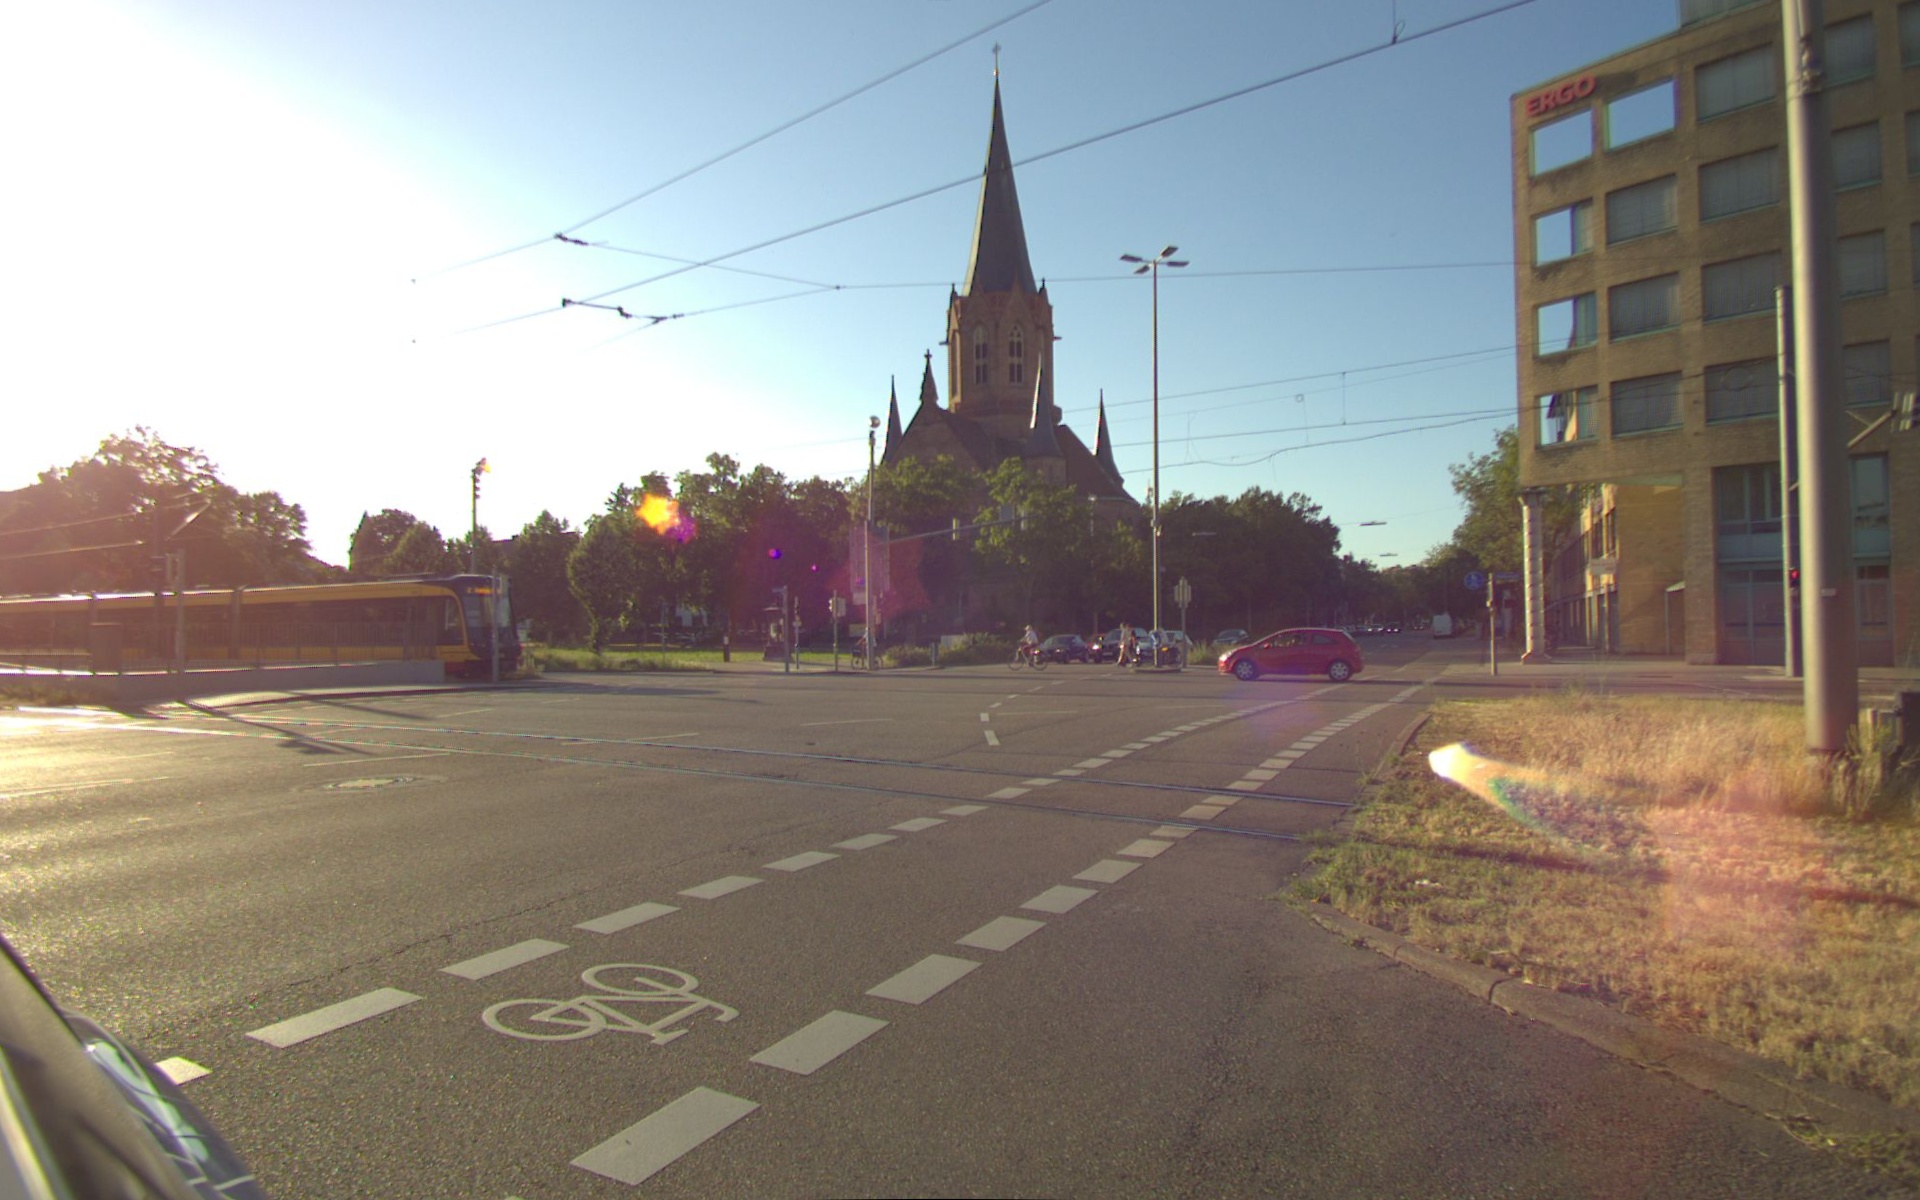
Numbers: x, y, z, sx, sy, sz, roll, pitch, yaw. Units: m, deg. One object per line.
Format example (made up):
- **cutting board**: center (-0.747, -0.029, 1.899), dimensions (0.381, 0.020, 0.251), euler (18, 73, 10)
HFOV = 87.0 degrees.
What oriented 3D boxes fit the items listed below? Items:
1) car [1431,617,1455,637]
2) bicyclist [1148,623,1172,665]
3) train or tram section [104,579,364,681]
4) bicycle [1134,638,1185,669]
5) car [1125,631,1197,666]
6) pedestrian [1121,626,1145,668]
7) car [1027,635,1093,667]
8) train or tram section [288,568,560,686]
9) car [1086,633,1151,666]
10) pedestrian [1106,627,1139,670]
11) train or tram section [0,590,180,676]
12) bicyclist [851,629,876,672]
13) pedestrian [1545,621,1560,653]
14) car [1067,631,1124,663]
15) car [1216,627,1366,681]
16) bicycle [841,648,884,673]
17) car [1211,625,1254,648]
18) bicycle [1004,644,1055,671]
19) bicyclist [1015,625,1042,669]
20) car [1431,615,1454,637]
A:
- **car**: center (53.236, 2.962, 111.472), dimensions (2.222, 2.029, 4.559), euler (-2, -2, 27)
- **bicyclist**: center (7.798, 1.714, 39.381), dimensions (0.814, 1.595, 0.518), euler (-2, -1, 18)
- **train or tram section**: center (-28.900, 1.248, 39.926), dimensions (13.187, 3.563, 2.756), euler (-2, -1, 28)
- **bicycle**: center (7.767, 2.090, 39.388), dimensions (1.904, 1.155, 0.457), euler (-2, -1, 19)
- **car**: center (8.935, 2.125, 44.768), dimensions (1.896, 1.431, 3.957), euler (-2, -2, 31)
- **pedestrian**: center (7.023, 1.911, 41.069), dimensions (0.715, 1.685, 0.730), euler (-2, -2, 31)
- **car**: center (4.997, 2.512, 50.224), dimensions (1.893, 1.431, 3.962), euler (-2, -2, 28)
- **train or tram section**: center (-18.395, 0.977, 34.398), dimensions (10.519, 3.563, 2.756), euler (-2, -1, 28)
- **car**: center (7.691, 2.361, 48.808), dimensions (1.893, 1.431, 3.962), euler (-2, -2, 28)
- **pedestrian**: center (6.499, 1.923, 40.419), dimensions (1.101, 1.685, 0.730), euler (-2, -2, 31)
- **train or tram section**: center (-40.551, 1.541, 46.090), dimensions (13.187, 3.563, 2.756), euler (-2, -1, 28)
- **bicyclist**: center (-4.225, 2.198, 44.232), dimensions (0.890, 1.841, 0.570), euler (-2, -1, 28)
- **pedestrian**: center (29.698, 1.867, 50.713), dimensions (0.579, 1.567, 0.737), euler (-2, -2, 34)
- **car**: center (7.409, 2.523, 54.924), dimensions (1.816, 1.597, 3.963), euler (-2, -2, 27)
- **car**: center (9.298, 1.506, 28.429), dimensions (3.861, 1.425, 1.716), euler (-2, -2, 23)
- **bicycle**: center (-4.265, 2.654, 44.260), dimensions (1.921, 1.034, 0.520), euler (-2, -1, 28)
- **car**: center (17.977, 2.361, 66.552), dimensions (1.893, 1.431, 3.962), euler (-2, -2, 28)
- **bicycle**: center (2.723, 2.248, 39.657), dimensions (1.918, 1.034, 0.456), euler (-2, -1, 24)
- **bicyclist**: center (2.680, 1.844, 39.652), dimensions (0.889, 1.693, 0.570), euler (-2, -1, 23)
- **car**: center (52.953, 2.864, 111.084), dimensions (1.991, 2.361, 3.961), euler (-2, -2, 28)
